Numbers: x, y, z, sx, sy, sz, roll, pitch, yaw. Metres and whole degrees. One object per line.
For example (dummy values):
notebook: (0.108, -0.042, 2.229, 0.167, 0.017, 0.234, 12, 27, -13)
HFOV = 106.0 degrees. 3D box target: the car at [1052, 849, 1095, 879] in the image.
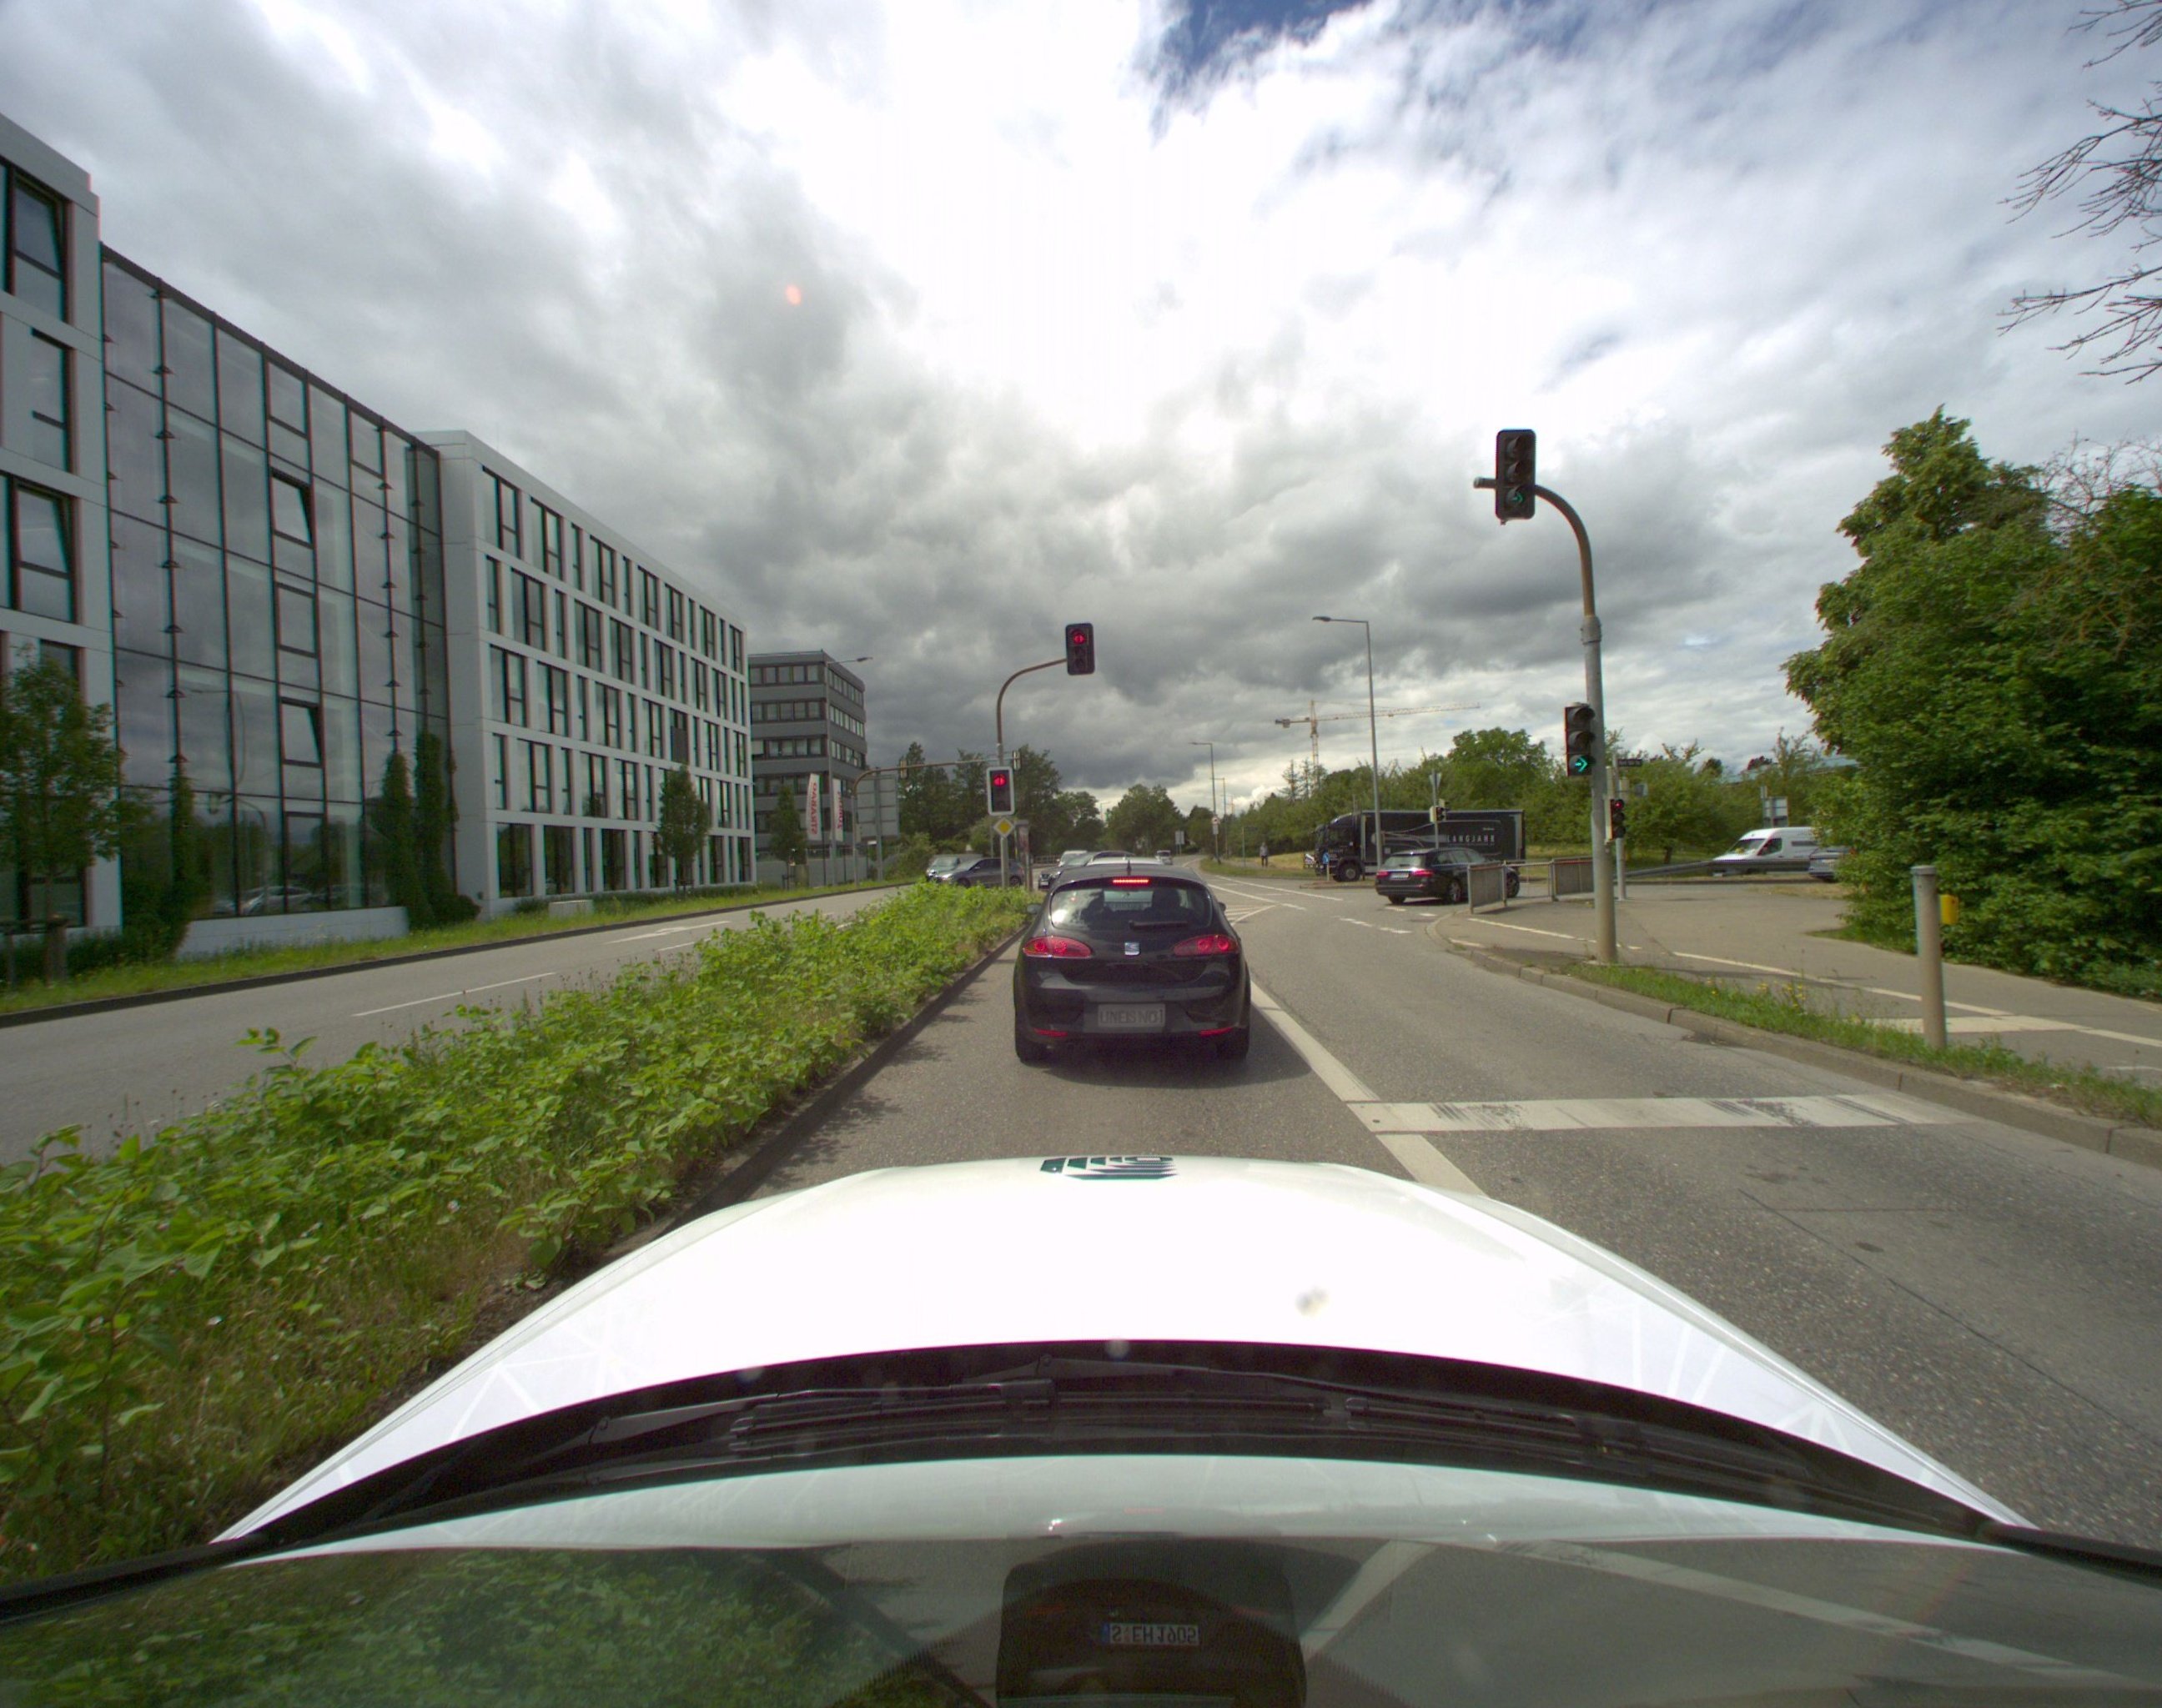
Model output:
car: (-0.388, 0.527, 46.152, 1.984, 1.596, 4.006, -2, 0, 5)

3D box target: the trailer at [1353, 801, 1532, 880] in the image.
trailer: (17.102, -0.617, 38.884, 7.546, 3.458, 2.003, -1, 0, 6)

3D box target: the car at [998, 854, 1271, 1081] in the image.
car: (0.403, 0.743, 7.135, 1.766, 1.451, 3.583, -1, 0, 2)

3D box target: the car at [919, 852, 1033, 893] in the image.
car: (-4.367, 0.756, 34.197, 4.340, 1.525, 1.976, -2, 0, -40)

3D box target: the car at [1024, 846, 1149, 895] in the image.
car: (0.251, 0.601, 30.507, 4.339, 1.615, 1.977, -2, 0, -38)

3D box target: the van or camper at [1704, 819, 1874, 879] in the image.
van or camper: (32.495, -0.245, 37.513, 5.898, 2.532, 2.249, -1, 0, 0)

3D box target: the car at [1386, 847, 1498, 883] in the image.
car: (15.397, 0.471, 34.943, 3.967, 1.420, 2.003, -1, 0, 6)

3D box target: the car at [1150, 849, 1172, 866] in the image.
car: (7.788, 0.300, 79.124, 1.983, 1.530, 4.008, -2, 0, 7)

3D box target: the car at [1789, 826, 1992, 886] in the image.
car: (24.326, 0.051, 24.569, 4.422, 1.518, 1.867, -3, 0, -4)

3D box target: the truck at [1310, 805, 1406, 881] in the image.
truck: (13.285, -0.521, 39.241, 3.966, 3.469, 2.004, -1, 0, 6)

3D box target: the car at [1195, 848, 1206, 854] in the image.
car: (26.666, -0.680, 181.824, 1.980, 1.352, 4.014, -1, 0, 12)

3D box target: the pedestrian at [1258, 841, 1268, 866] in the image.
pedestrian: (12.743, -0.061, 57.115, 0.556, 1.726, 0.588, -1, 0, 2)

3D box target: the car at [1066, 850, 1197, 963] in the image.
car: (0.702, 0.735, 13.250, 1.768, 1.491, 3.581, -3, 0, 0)

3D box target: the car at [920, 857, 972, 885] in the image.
car: (-7.286, 0.908, 44.249, 1.986, 1.352, 4.002, -1, 0, 2)

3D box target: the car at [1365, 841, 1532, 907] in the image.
car: (10.097, 0.491, 22.200, 5.225, 1.440, 1.857, -3, 0, -38)

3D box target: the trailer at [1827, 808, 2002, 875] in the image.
trailer: (38.338, -0.562, 37.566, 5.749, 2.806, 2.246, -2, 0, -1)
